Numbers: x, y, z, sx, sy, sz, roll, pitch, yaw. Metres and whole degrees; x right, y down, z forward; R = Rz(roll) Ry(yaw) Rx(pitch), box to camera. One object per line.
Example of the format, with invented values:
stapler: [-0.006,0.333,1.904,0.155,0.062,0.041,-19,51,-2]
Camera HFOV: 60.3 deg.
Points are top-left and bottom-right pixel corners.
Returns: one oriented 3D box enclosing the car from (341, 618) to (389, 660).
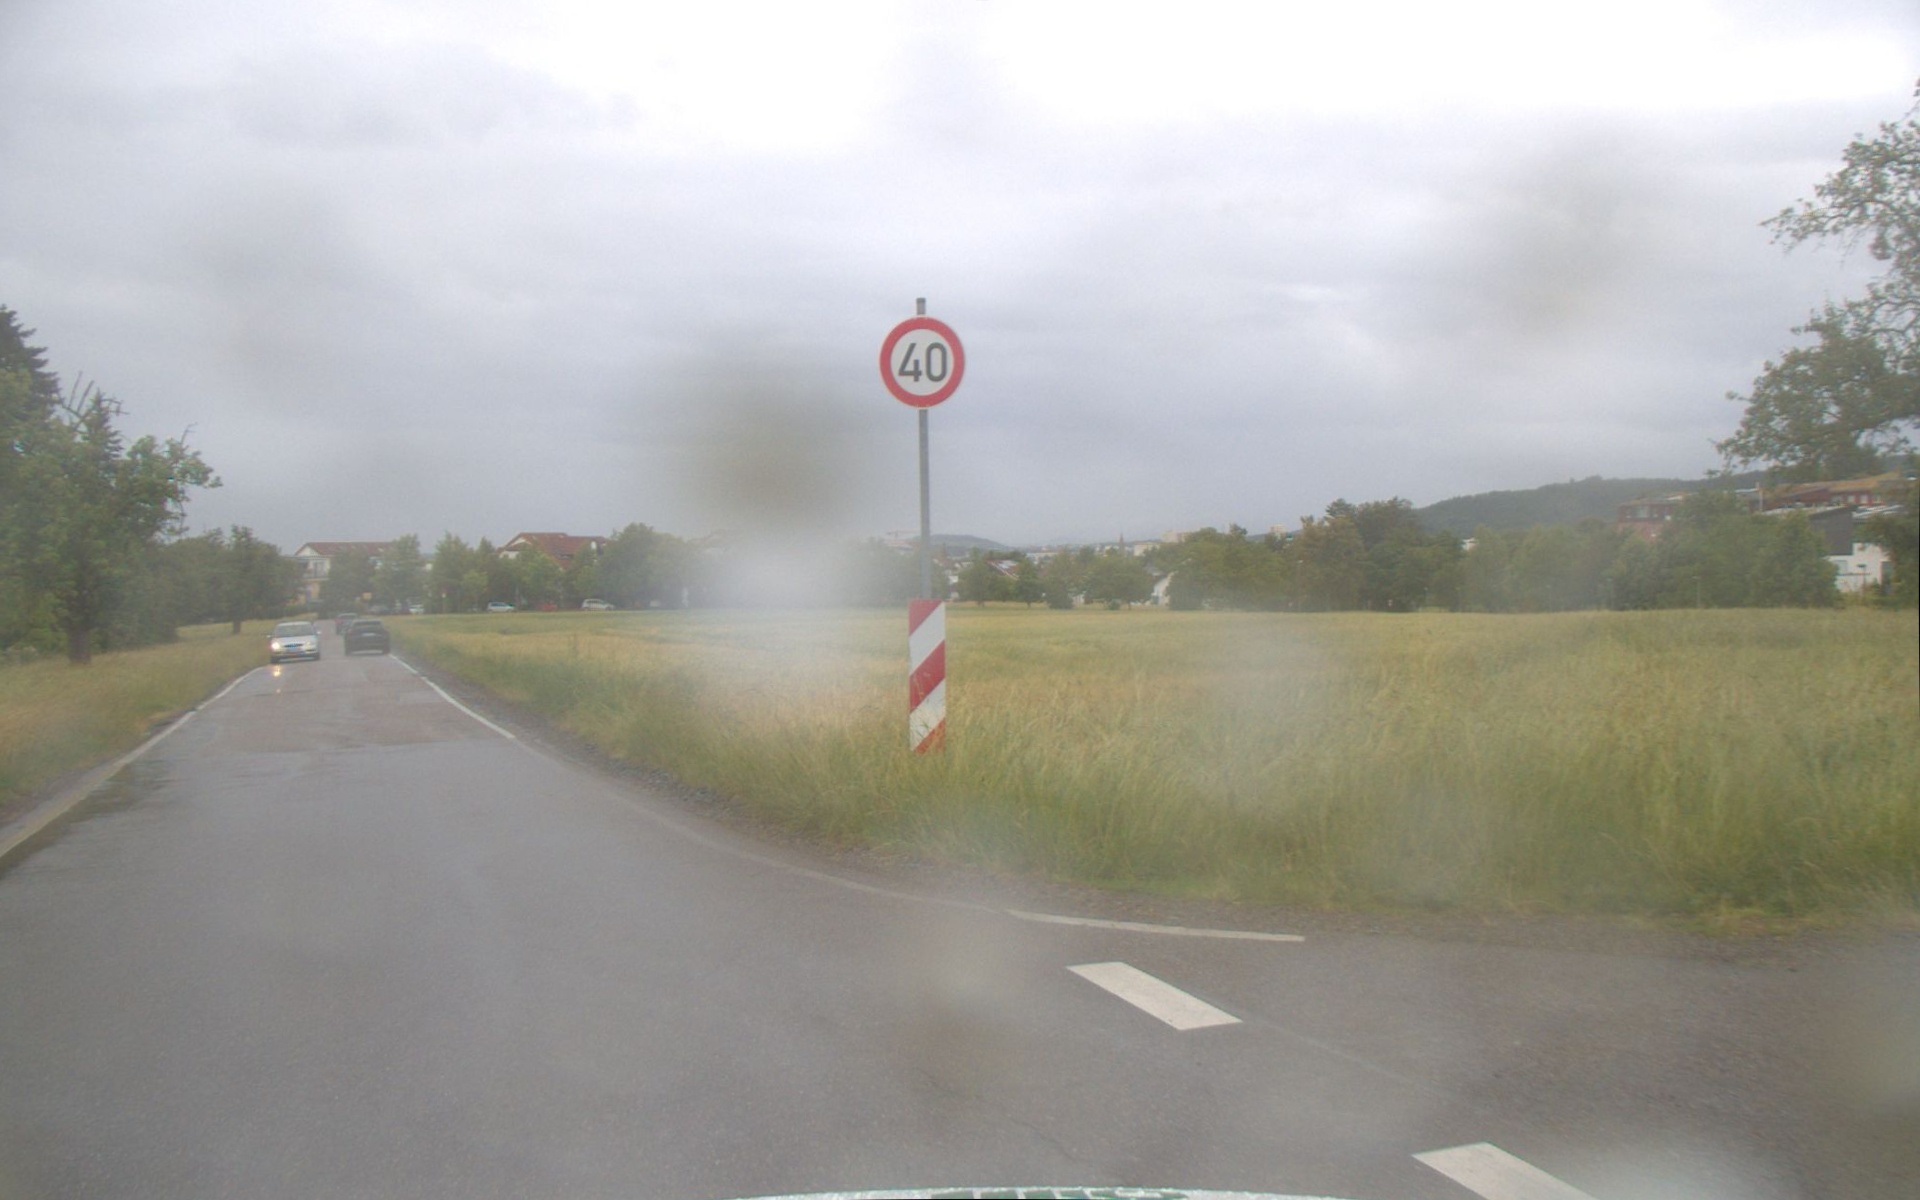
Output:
car: [-24.927,1.625,69.292,1.788,1.621,3.976,-2,-1,-20]

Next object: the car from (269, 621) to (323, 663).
car: [-25.762,1.643,64.262,1.714,1.497,4.098,-2,-1,-20]

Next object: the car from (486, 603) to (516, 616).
car: [-57.393,1.175,206.719,3.327,1.394,1.545,-3,-1,-8]

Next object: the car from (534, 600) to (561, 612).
car: [-51.787,0.736,207.629,3.133,1.394,1.569,-3,-1,-8]

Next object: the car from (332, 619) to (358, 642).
car: [-47.175,2.372,126.910,1.788,1.621,3.976,-2,-1,-20]

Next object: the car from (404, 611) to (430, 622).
car: [-78.292,2.364,238.698,1.625,1.573,4.003,-3,-1,14]

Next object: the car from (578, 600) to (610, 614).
car: [-46.167,0.847,208.659,3.640,1.591,1.607,-3,-1,-8]

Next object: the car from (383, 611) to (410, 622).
car: [-79.597,2.323,233.767,1.625,1.573,4.003,-3,-1,14]

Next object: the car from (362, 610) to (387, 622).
car: [-80.541,2.213,227.545,1.626,1.573,4.002,-3,-1,4]
